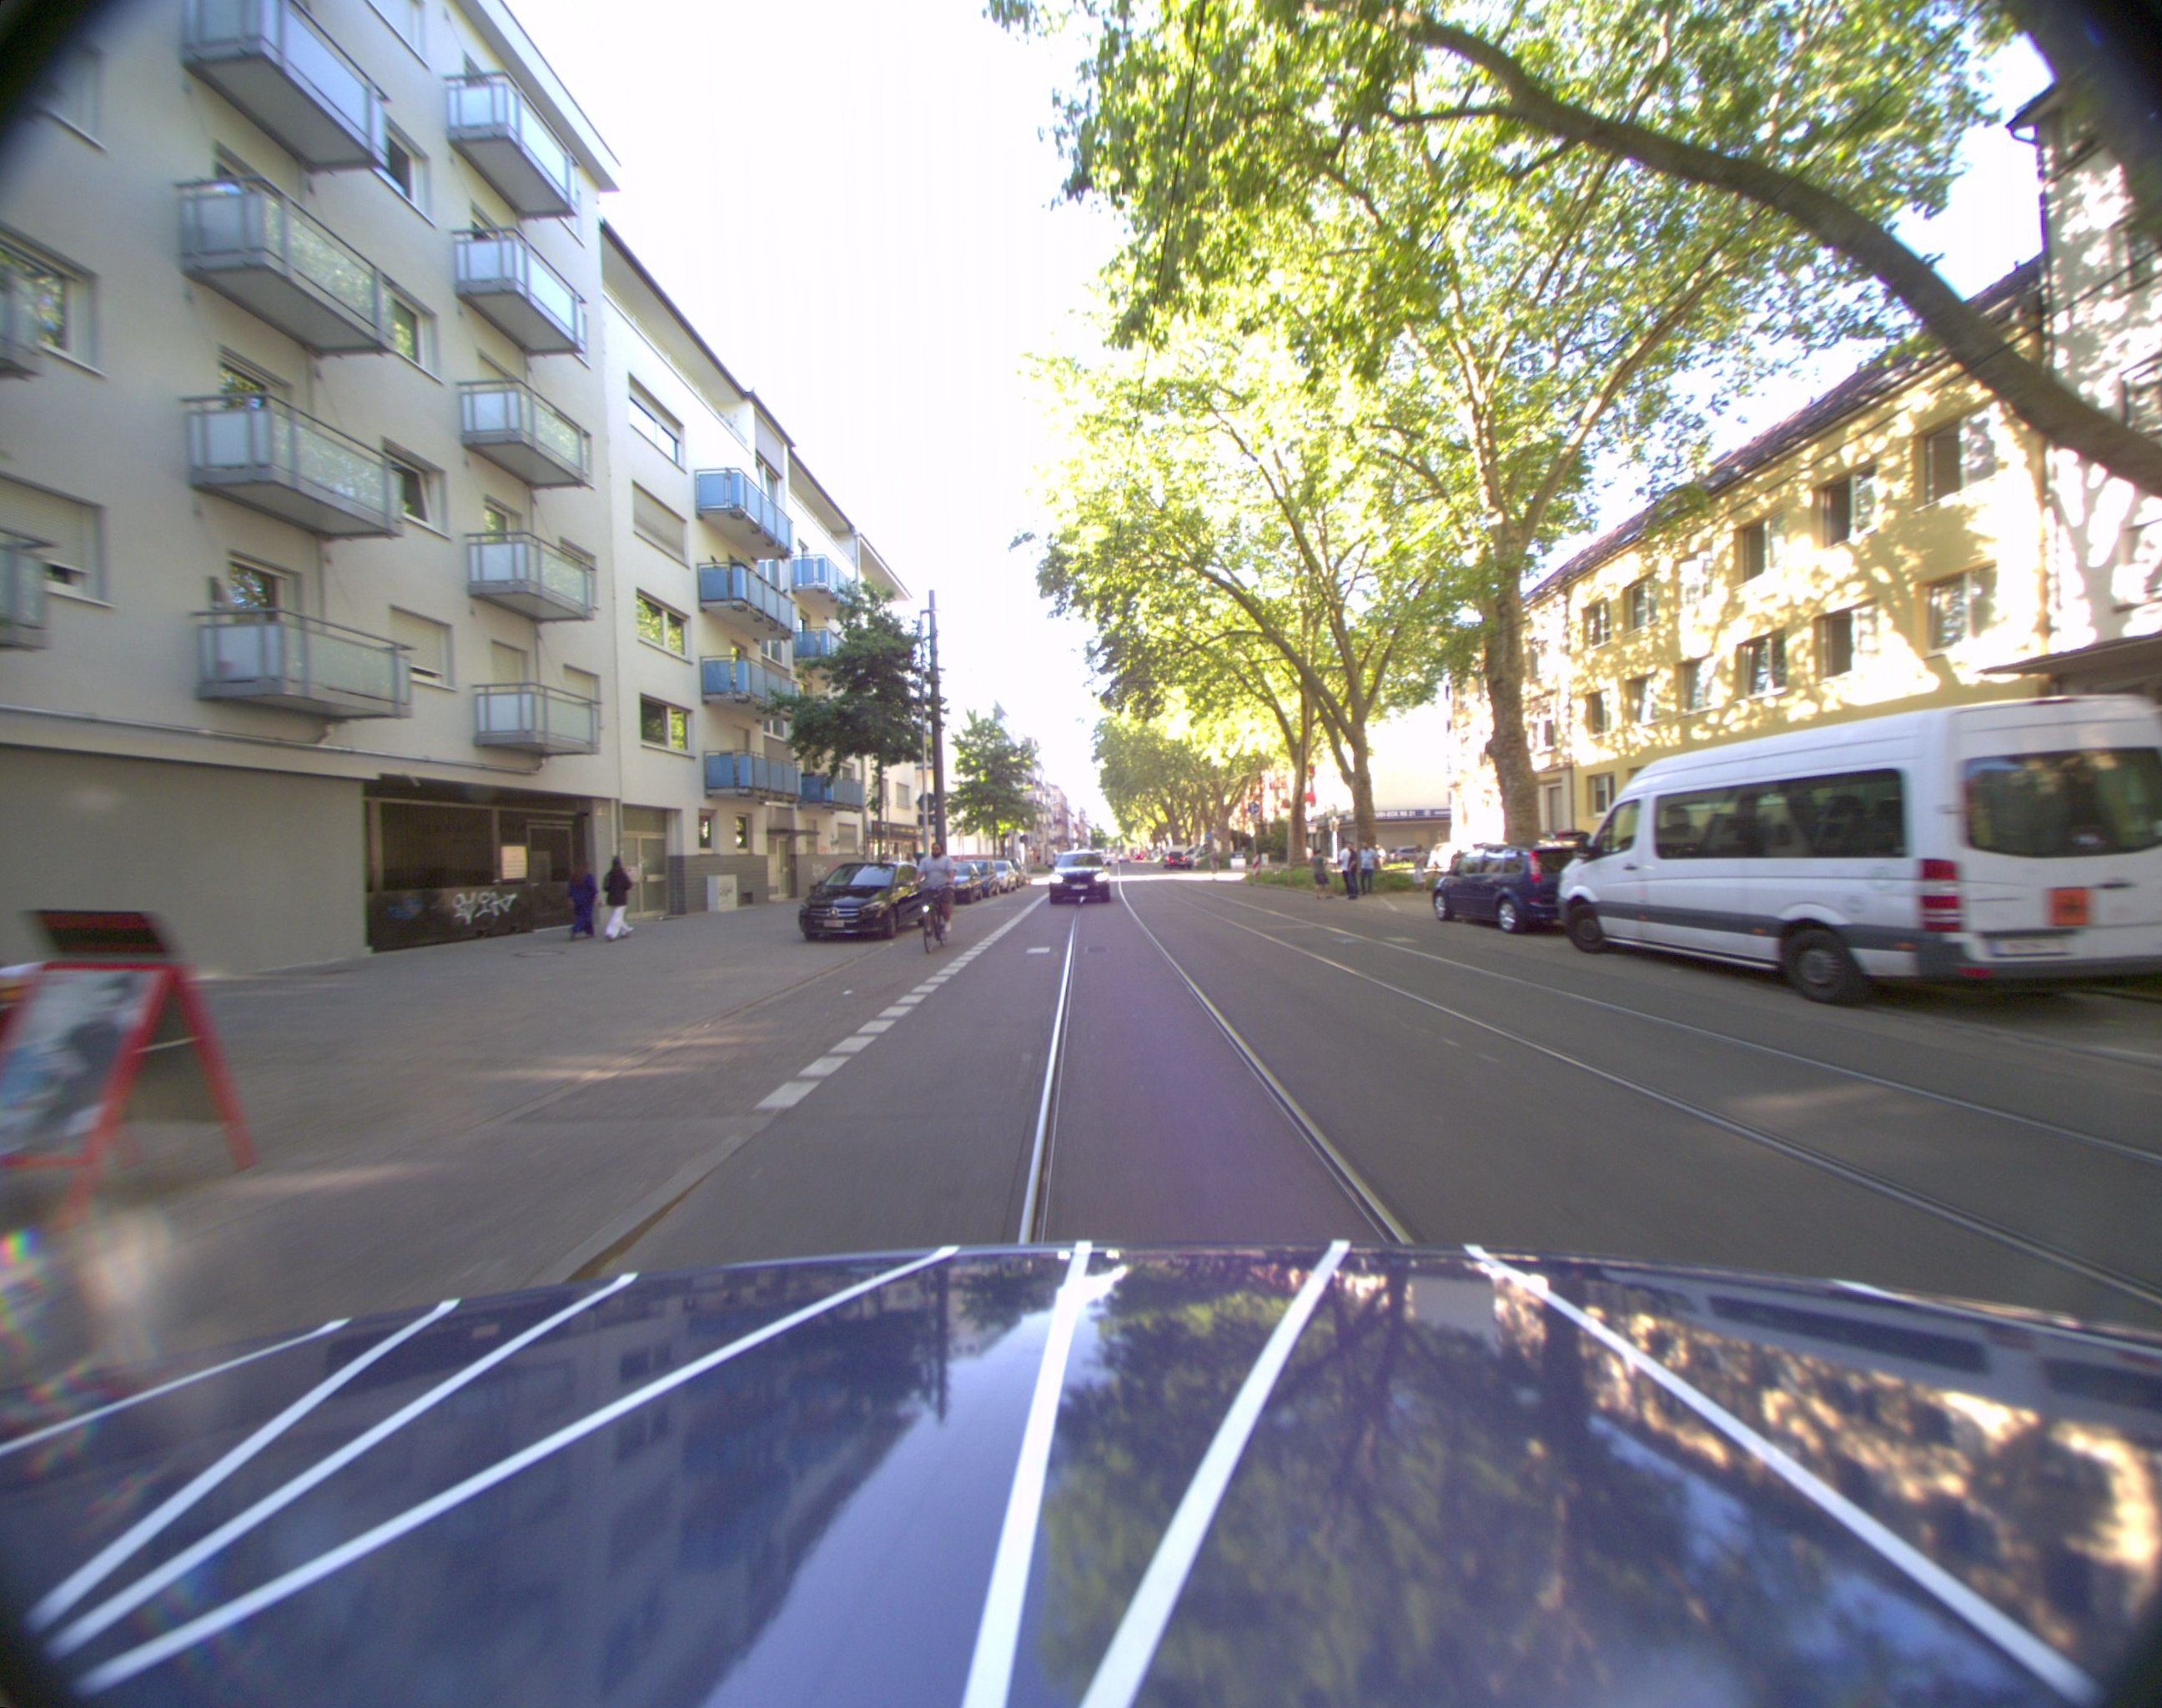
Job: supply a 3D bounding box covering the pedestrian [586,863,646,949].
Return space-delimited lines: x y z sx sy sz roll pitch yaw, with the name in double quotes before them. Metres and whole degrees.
"pedestrian" -9.115 0.992 14.924 0.643 1.628 0.870 0 1 1

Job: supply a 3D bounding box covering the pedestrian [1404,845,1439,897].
"pedestrian" 10.706 0.534 23.889 0.768 1.600 0.715 -2 2 44

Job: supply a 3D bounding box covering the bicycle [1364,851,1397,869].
"bicycle" 19.713 0.385 50.032 1.867 1.056 0.656 -3 1 -5

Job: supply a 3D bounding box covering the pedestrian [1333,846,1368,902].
"pedestrian" 8.531 0.620 24.056 0.768 1.725 0.715 -2 2 44

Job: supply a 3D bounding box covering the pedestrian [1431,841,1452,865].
"pedestrian" 22.836 -0.042 48.102 0.774 1.470 1.069 -3 1 1

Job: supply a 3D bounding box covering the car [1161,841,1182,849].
"car" 18.461 -1.856 155.689 3.997 1.458 2.000 -3 1 1

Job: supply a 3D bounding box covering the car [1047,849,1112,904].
"car" 0.029 0.696 26.191 1.998 1.723 4.400 0 1 3

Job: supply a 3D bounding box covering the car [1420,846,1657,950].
"car" 8.236 0.687 14.242 1.921 1.553 4.284 -3 1 2

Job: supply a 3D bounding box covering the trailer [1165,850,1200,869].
"trailer" 9.144 0.437 69.084 2.452 1.622 6.584 0 1 1

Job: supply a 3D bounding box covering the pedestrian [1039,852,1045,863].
"pedestrian" -5.349 0.534 104.313 0.590 1.493 0.600 -3 1 3

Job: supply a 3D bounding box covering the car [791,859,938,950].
"car" -4.468 0.959 16.417 1.763 1.578 4.329 1 1 2

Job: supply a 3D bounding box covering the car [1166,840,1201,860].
"car" 14.440 -0.560 106.933 4.660 2.518 2.000 -3 1 3

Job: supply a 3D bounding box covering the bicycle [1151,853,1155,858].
"bicycle" 13.187 0.198 138.868 0.533 0.901 1.557 -3 1 3

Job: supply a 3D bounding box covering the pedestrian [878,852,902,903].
"pedestrian" -7.022 0.856 28.005 0.663 1.841 0.539 -2 1 2

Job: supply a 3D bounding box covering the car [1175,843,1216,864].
"car" 13.867 -0.038 92.206 4.660 2.293 2.000 -3 1 3

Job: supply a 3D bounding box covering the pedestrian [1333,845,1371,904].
"pedestrian" 8.308 0.622 23.298 0.715 1.767 0.769 -4 1 -31

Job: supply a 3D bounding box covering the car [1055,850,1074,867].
"car" -1.933 0.523 90.139 1.957 1.914 4.000 -3 1 3

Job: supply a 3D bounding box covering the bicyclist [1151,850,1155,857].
"bicyclist" 13.166 -0.149 138.896 0.533 1.206 0.666 -3 1 3

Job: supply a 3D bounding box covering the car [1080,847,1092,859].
"car" 0.949 -0.181 140.262 1.990 2.085 4.470 -3 1 3

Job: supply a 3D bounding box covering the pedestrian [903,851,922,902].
"pedestrian" -6.209 0.831 28.057 0.477 1.841 0.664 -2 1 0

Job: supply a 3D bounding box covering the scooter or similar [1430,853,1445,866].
"scooter or similar" 22.324 0.347 47.580 0.529 0.749 0.896 -3 1 1

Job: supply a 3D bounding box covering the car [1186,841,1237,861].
"car" 14.342 -0.338 83.539 5.134 1.984 1.999 -3 1 -2

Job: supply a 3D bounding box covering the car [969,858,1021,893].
"car" -3.919 0.950 35.342 1.790 1.528 4.128 0 0 2

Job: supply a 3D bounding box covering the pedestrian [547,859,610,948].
"pedestrian" -9.837 0.943 14.915 0.597 1.668 0.934 0 1 0

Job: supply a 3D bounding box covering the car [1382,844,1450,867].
"car" 24.785 0.105 56.271 4.152 1.469 1.835 -3 1 2

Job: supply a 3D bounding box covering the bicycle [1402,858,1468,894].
"bicycle" 11.397 0.716 24.490 1.847 1.073 0.570 -2 1 30

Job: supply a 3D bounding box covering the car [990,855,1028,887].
"car" -3.845 0.887 41.282 1.724 1.562 4.259 0 1 -1

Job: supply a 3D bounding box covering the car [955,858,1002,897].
"car" -4.179 0.944 31.354 1.447 1.528 2.881 0 0 2

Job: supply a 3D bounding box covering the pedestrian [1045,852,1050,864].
"pedestrian" -4.849 0.643 109.834 0.697 1.685 0.678 -3 1 2

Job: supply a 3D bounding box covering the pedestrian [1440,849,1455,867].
"pedestrian" 21.971 0.220 45.584 0.544 1.034 0.545 -3 1 -30

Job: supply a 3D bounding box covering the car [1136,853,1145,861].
"car" 13.982 0.600 177.921 1.998 1.723 4.400 -3 1 3

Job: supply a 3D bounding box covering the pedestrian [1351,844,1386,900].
"pedestrian" 9.238 0.566 24.448 0.770 1.725 0.717 -3 1 -2

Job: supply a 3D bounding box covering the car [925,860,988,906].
"car" -4.416 0.991 27.377 1.626 1.473 3.889 0 0 0

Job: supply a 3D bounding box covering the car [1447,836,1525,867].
"car" 20.317 -0.128 38.284 1.783 1.379 3.999 -3 1 0

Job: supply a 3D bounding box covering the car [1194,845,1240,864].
"car" 12.966 0.070 72.768 3.997 1.600 1.909 -3 0 1

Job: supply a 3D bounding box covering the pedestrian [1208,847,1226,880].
"pedestrian" 7.630 0.530 42.600 0.700 1.781 0.801 -3 1 -10

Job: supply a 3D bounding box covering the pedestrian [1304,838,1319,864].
"pedestrian" 16.223 -0.194 53.519 0.724 1.770 0.669 -3 2 -7

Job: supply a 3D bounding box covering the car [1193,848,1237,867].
"car" 13.320 0.315 75.494 3.997 1.636 2.000 -3 1 1

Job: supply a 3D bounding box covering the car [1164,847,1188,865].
"car" 9.310 0.186 74.555 1.928 1.674 4.182 0 1 1

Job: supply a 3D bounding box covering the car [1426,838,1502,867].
"car" 25.161 -0.057 50.015 4.011 1.627 1.801 -3 -3 2

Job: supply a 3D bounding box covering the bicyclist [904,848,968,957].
"bicyclist" -2.563 0.827 13.549 0.769 1.821 1.099 -3 1 3

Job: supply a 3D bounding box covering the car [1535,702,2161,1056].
"car" 7.839 0.143 8.607 2.112 2.562 6.025 -3 1 5

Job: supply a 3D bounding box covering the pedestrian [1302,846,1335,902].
"pedestrian" 7.622 0.631 24.392 0.712 1.725 0.772 -2 1 38

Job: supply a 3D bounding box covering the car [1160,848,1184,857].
"car" 16.423 -0.292 137.614 3.997 1.458 2.000 -3 1 1

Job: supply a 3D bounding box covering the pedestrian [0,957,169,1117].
"pedestrian" -7.999 1.384 5.870 0.660 1.021 1.003 -2 1 19

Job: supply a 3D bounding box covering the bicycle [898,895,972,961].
"bicycle" -2.547 1.278 13.490 0.790 0.932 1.939 -3 1 3
